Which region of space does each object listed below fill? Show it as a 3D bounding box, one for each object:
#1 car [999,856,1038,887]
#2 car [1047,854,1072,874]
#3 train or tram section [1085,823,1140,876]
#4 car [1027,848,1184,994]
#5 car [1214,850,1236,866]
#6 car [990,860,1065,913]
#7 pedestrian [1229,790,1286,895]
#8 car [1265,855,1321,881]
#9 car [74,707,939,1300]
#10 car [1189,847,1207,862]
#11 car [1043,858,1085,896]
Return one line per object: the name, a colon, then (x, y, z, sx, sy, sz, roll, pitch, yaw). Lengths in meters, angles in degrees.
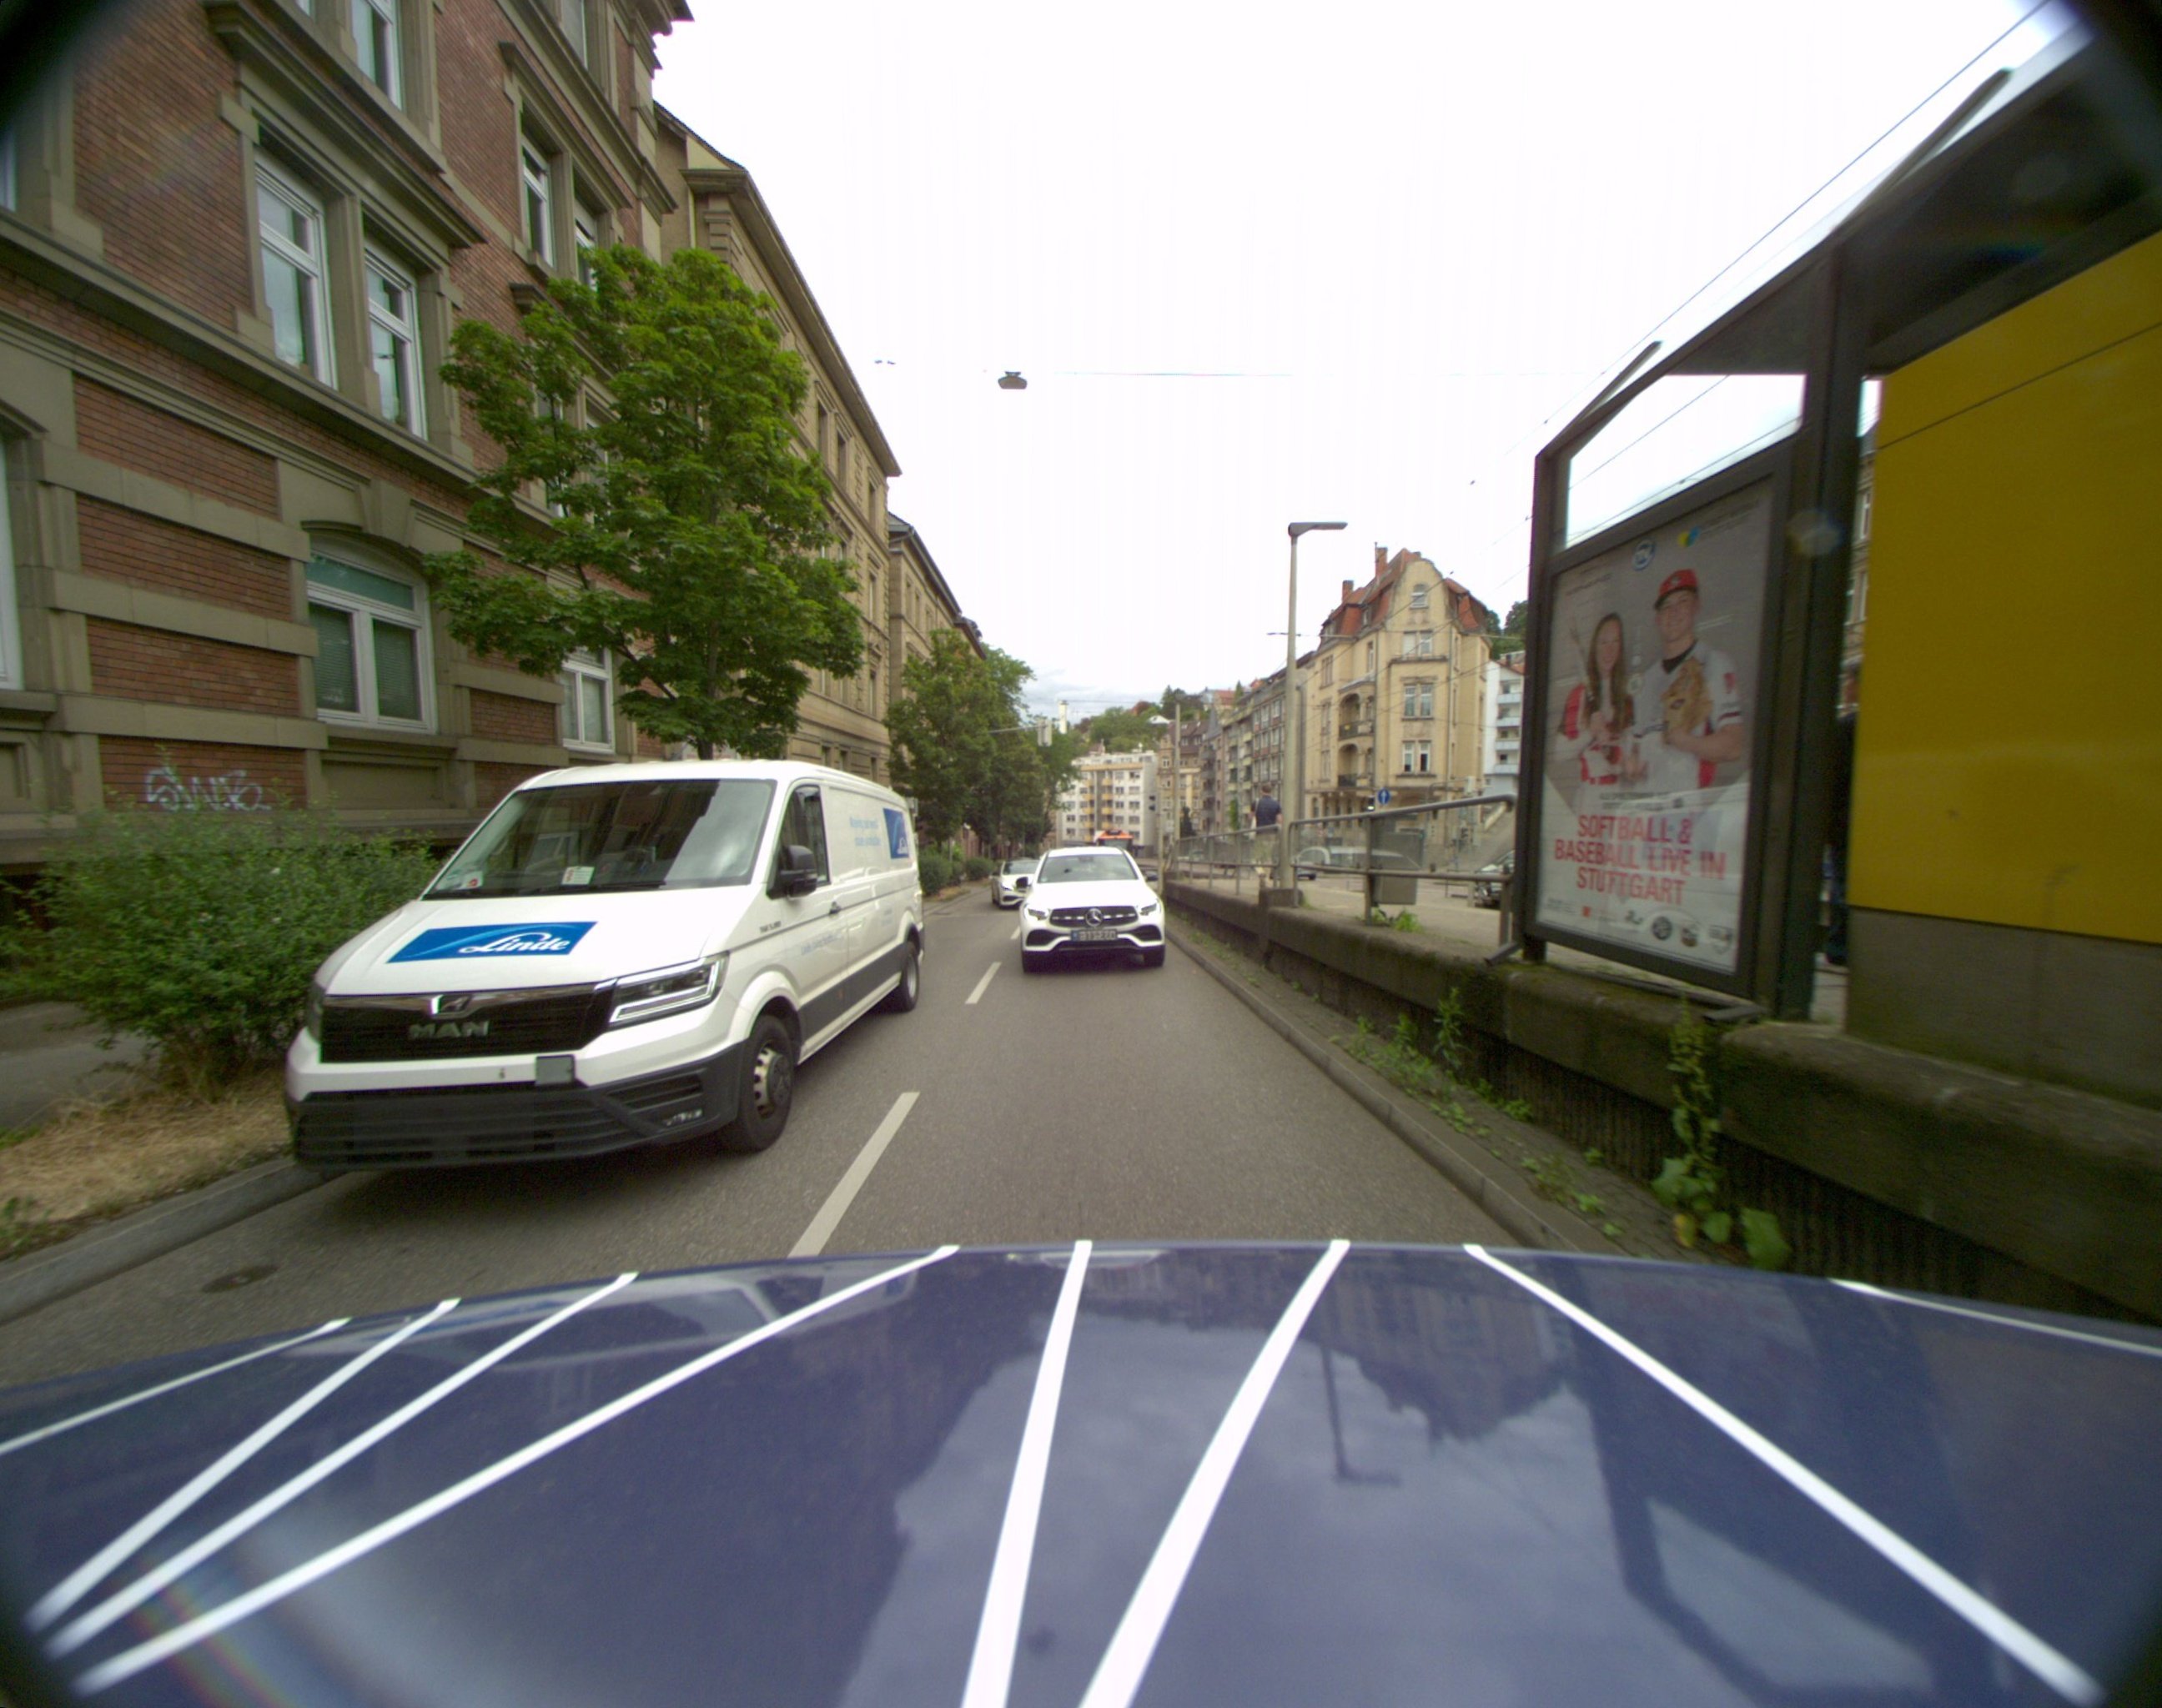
car: (-3.210, 0.892, 39.618, 1.695, 1.466, 3.856, 0, 1, 0)
car: (-1.530, 0.653, 52.760, 1.563, 1.330, 3.998, 0, 0, -4)
train or tram section: (2.078, -0.308, 56.991, 2.968, 3.456, 14.404, 0, 0, -2)
car: (0.267, 0.792, 11.496, 1.840, 1.657, 4.669, -2, 1, -1)
car: (16.558, 0.449, 87.508, 1.850, 1.772, 4.380, 0, 0, 1)
car: (-1.709, 0.908, 22.961, 1.807, 1.392, 3.996, -1, 0, -10)
pedestrian: (2.938, -0.187, 12.675, 0.767, 1.705, 0.766, 0, 1, 0)
car: (12.197, 0.763, 44.021, 1.851, 1.438, 4.379, 0, 0, -2)
car: (-2.802, 0.581, 5.978, 2.263, 2.274, 5.966, -2, 0, -1)
car: (16.470, 0.045, 107.024, 1.850, 1.963, 4.050, 0, 0, -1)
car: (-0.766, 0.999, 34.776, 1.806, 1.542, 3.999, -1, 0, -1)
